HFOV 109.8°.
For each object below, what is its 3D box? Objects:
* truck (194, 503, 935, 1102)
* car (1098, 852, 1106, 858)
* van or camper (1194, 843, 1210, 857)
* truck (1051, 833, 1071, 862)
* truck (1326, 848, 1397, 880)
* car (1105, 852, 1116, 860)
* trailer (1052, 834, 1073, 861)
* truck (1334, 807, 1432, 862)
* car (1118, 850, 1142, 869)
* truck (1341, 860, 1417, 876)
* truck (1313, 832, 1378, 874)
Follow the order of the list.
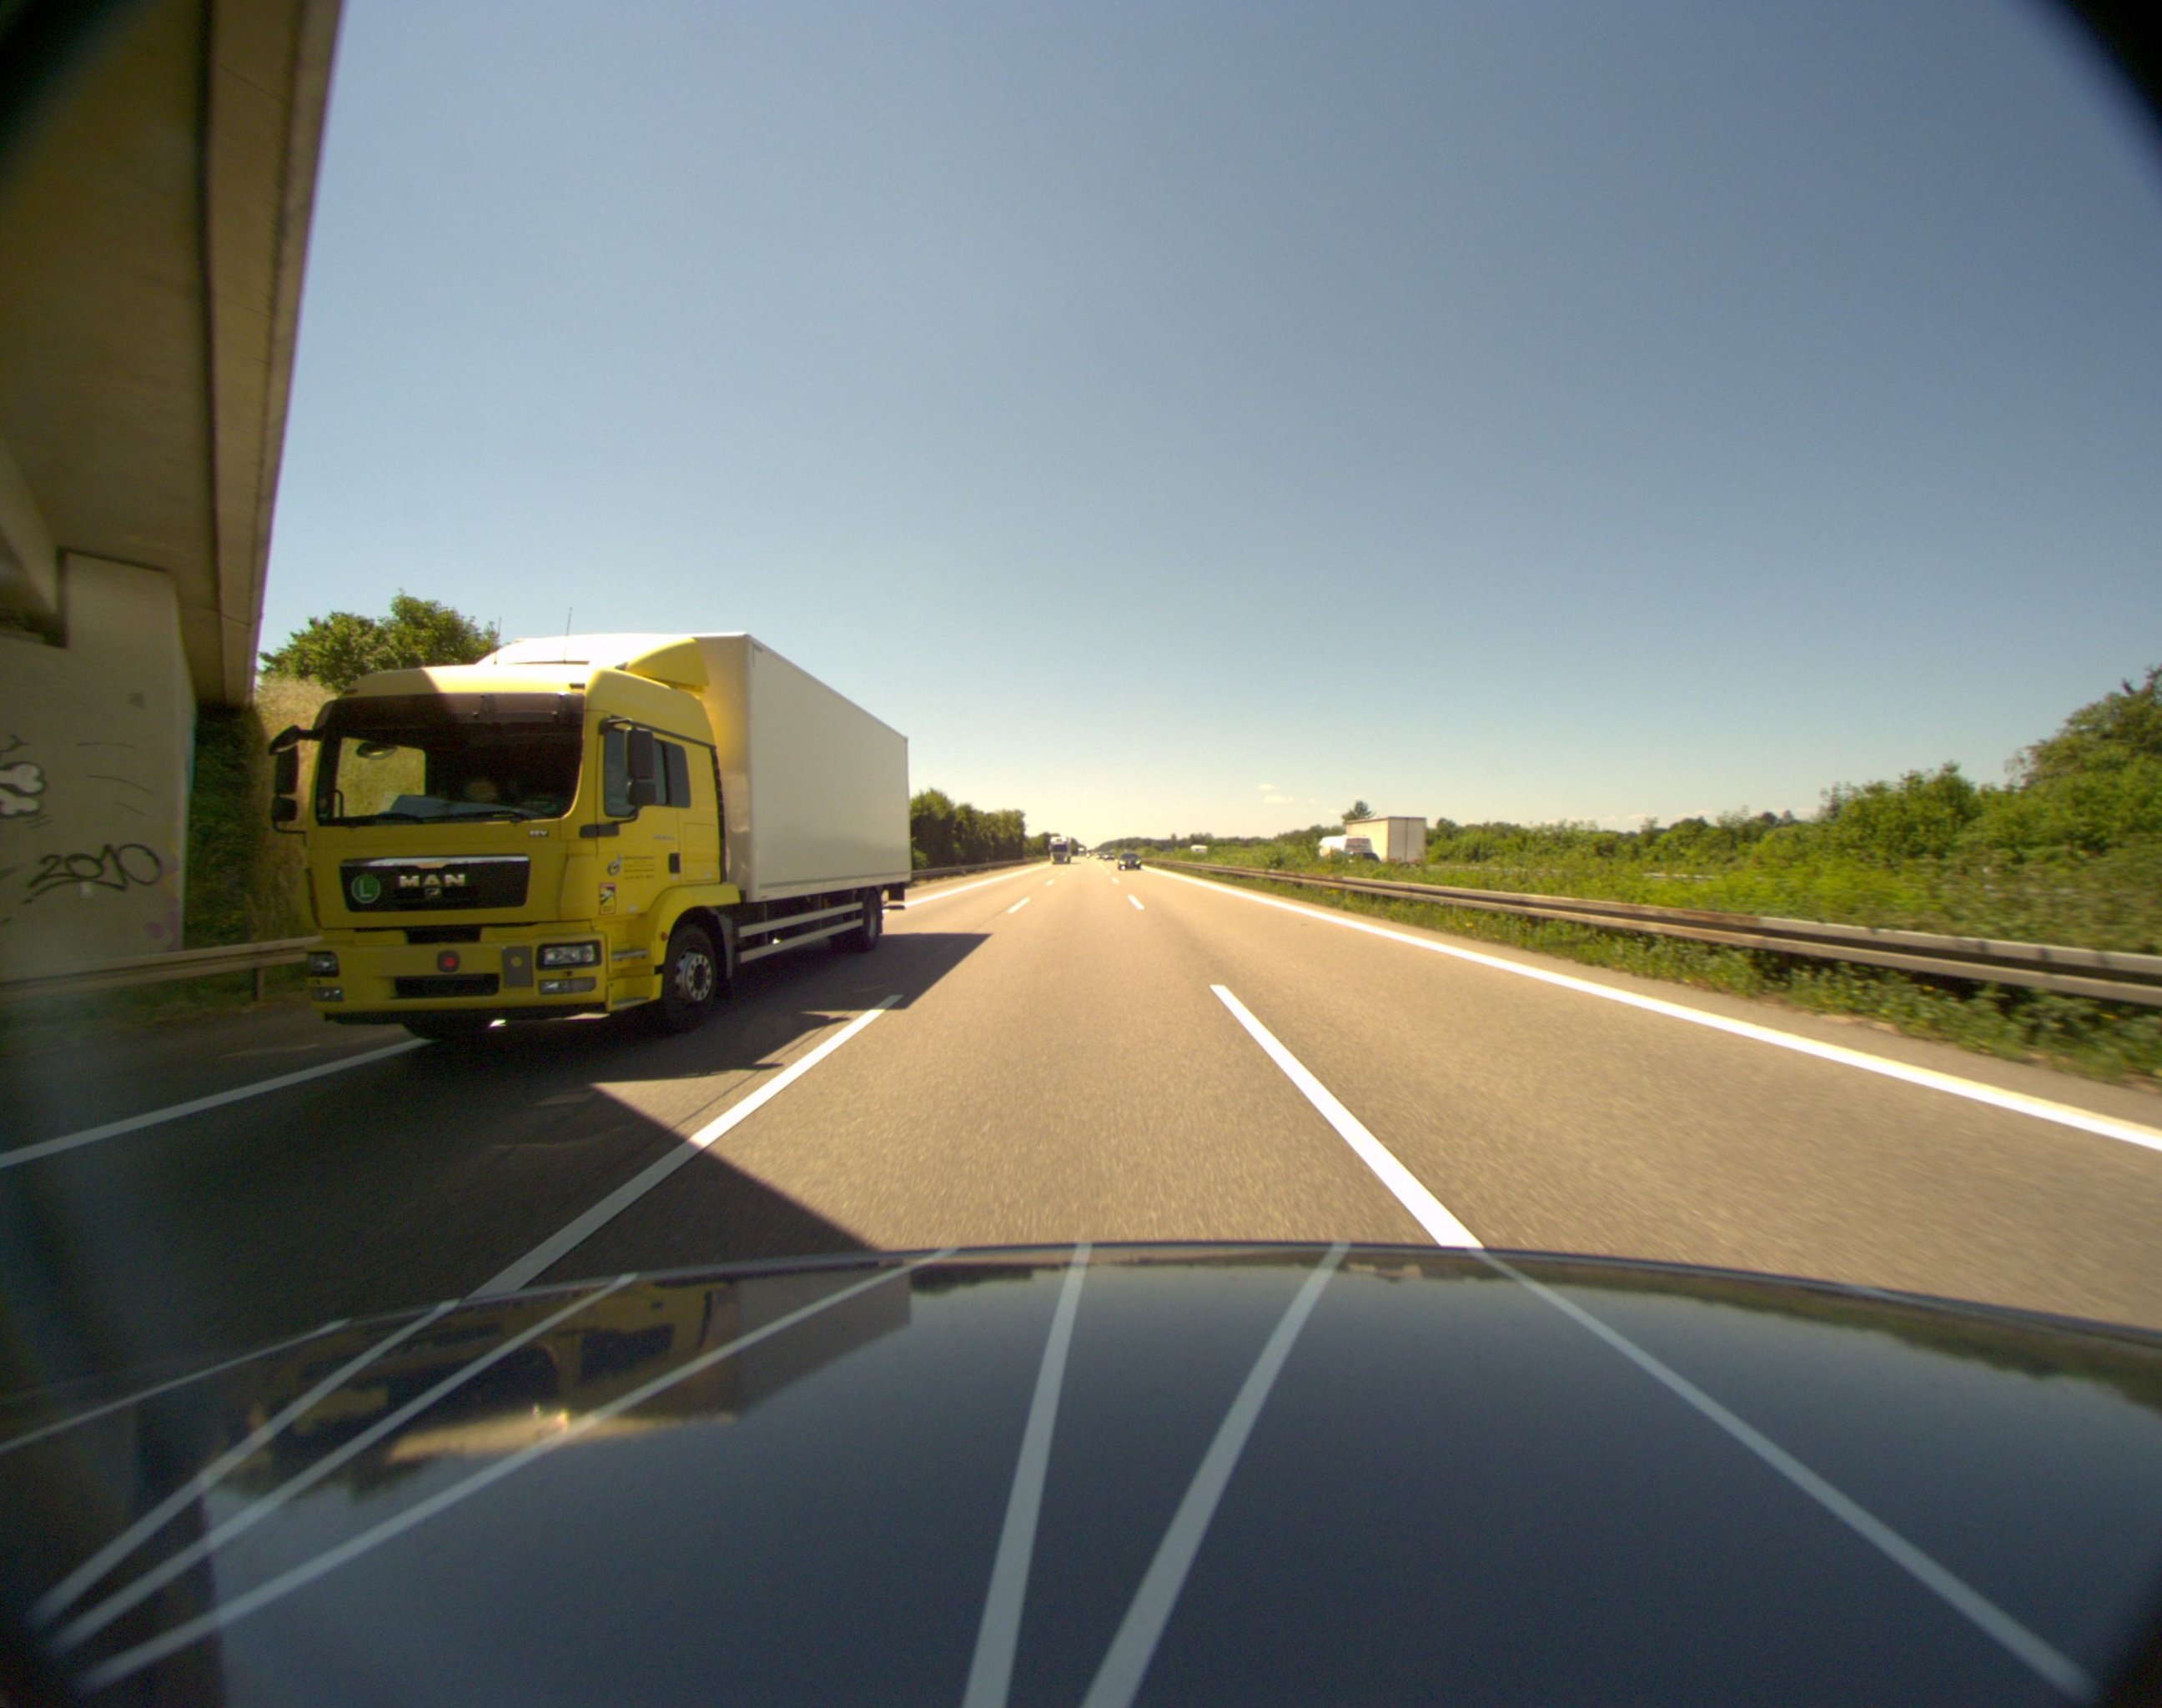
[{"bbox_3d":[-4.724,-0.383,10.801,2.941,4.175,10.681,-3,0,1],"label":"truck"},{"bbox_3d":[4.770,0.235,173.519,1.811,1.417,4.000,-3,0,1],"label":"car"},{"bbox_3d":[22.759,-0.688,143.501,1.998,2.530,6.298,-3,0,1],"label":"van or camper"},{"bbox_3d":[-2.955,-0.955,114.348,2.476,4.038,6.320,-3,0,1],"label":"truck"},{"bbox_3d":[12.771,0.426,34.810,1.777,1.298,4.192,-3,0,2],"label":"truck"},{"bbox_3d":[5.159,0.335,134.996,1.811,1.417,4.000,-3,0,1],"label":"car"},{"bbox_3d":[-2.855,-0.991,120.569,2.476,4.038,13.880,-3,0,1],"label":"trailer"},{"bbox_3d":[21.522,-1.313,54.957,2.884,3.477,10.735,-3,0,1],"label":"truck"},{"bbox_3d":[4.111,0.472,64.061,1.811,1.459,4.000,-3,0,1],"label":"car"},{"bbox_3d":[16.458,0.745,42.305,2.275,0.682,5.219,-3,0,2],"label":"truck"},{"bbox_3d":[16.615,-0.075,48.164,1.998,2.385,6.419,-3,0,2],"label":"truck"}]
